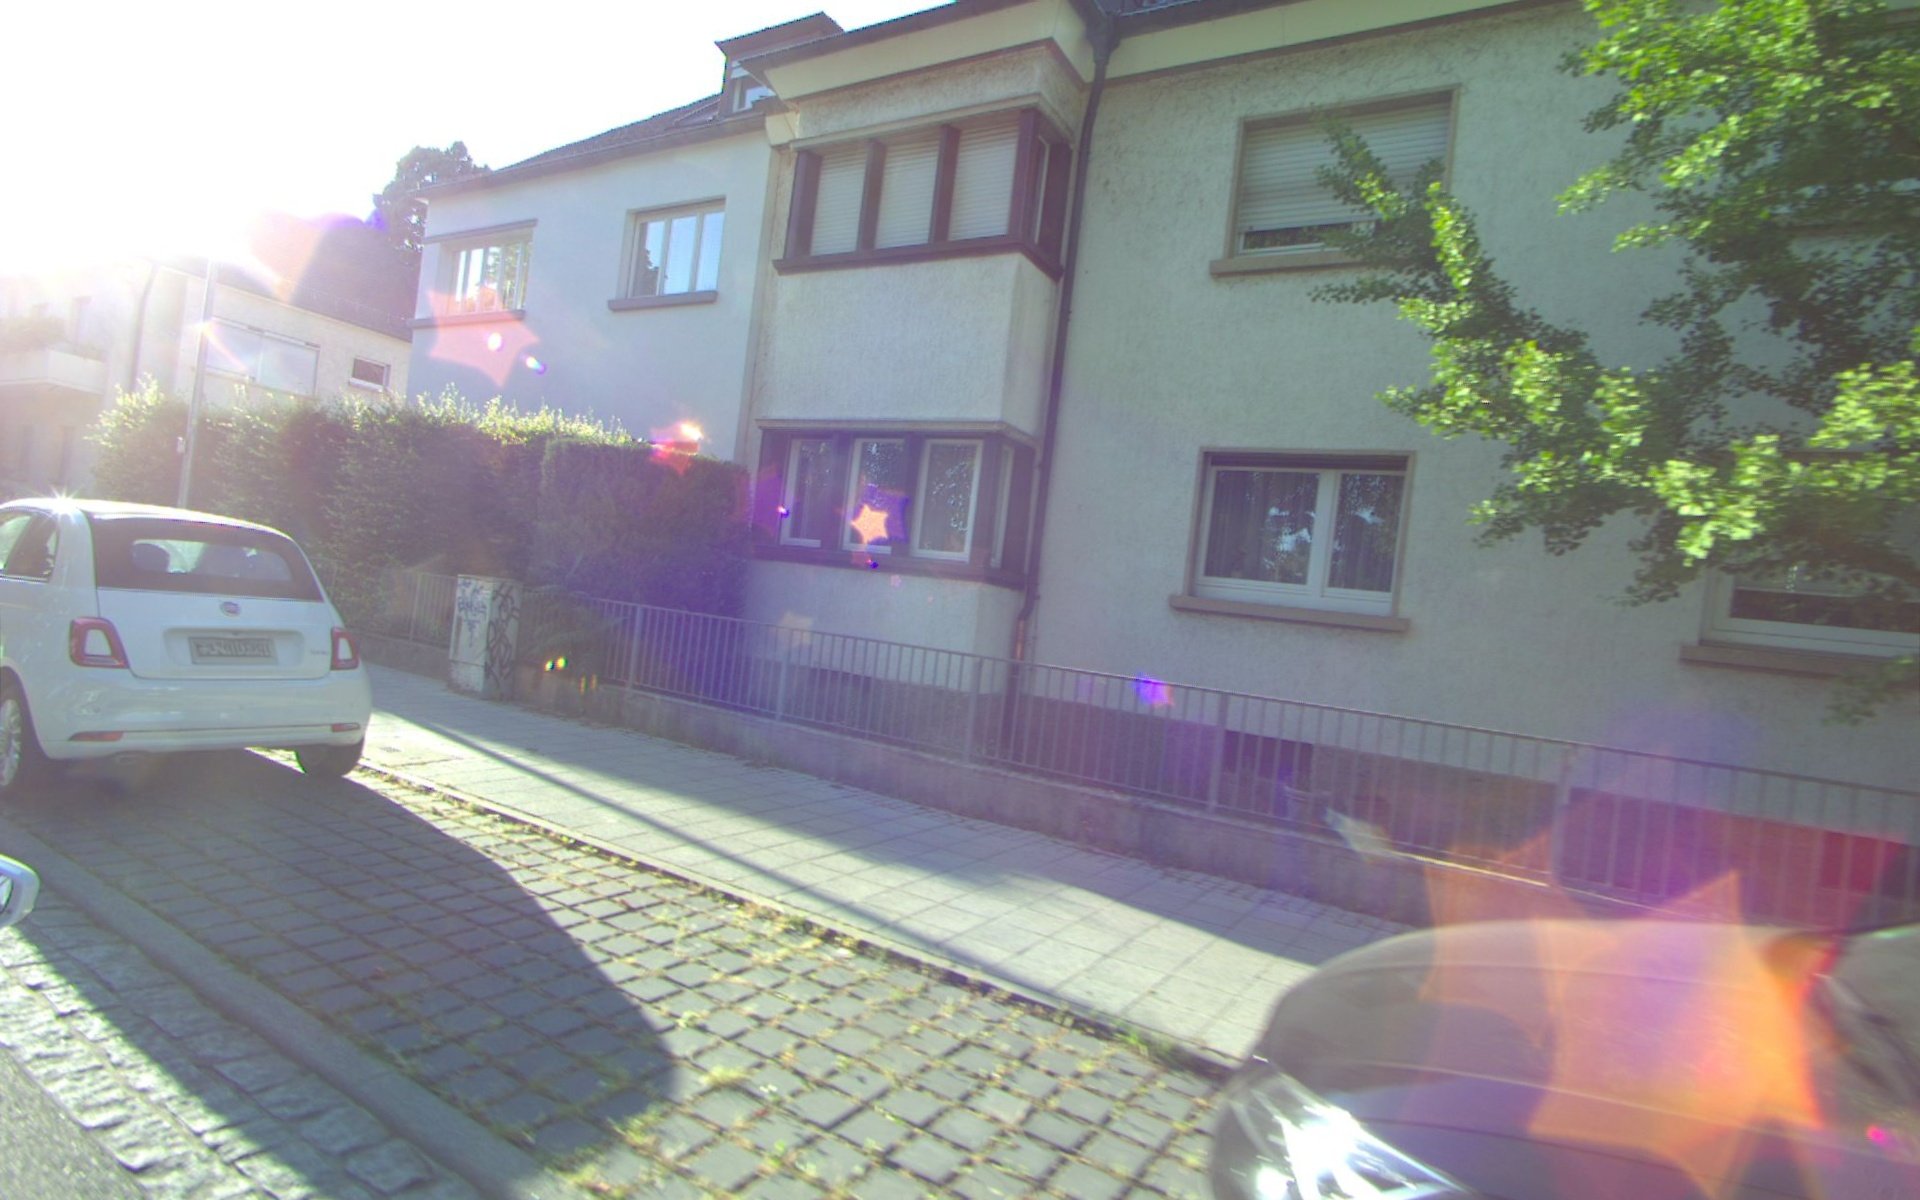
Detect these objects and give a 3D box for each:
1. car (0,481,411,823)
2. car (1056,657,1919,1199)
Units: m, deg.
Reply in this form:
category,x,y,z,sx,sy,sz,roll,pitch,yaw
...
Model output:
category,x,y,z,sx,sy,sz,roll,pitch,yaw
car,-5.202,0.140,6.183,3.532,1.528,1.594,7,0,33
car,2.373,1.065,1.371,4.127,1.467,1.738,6,1,31
